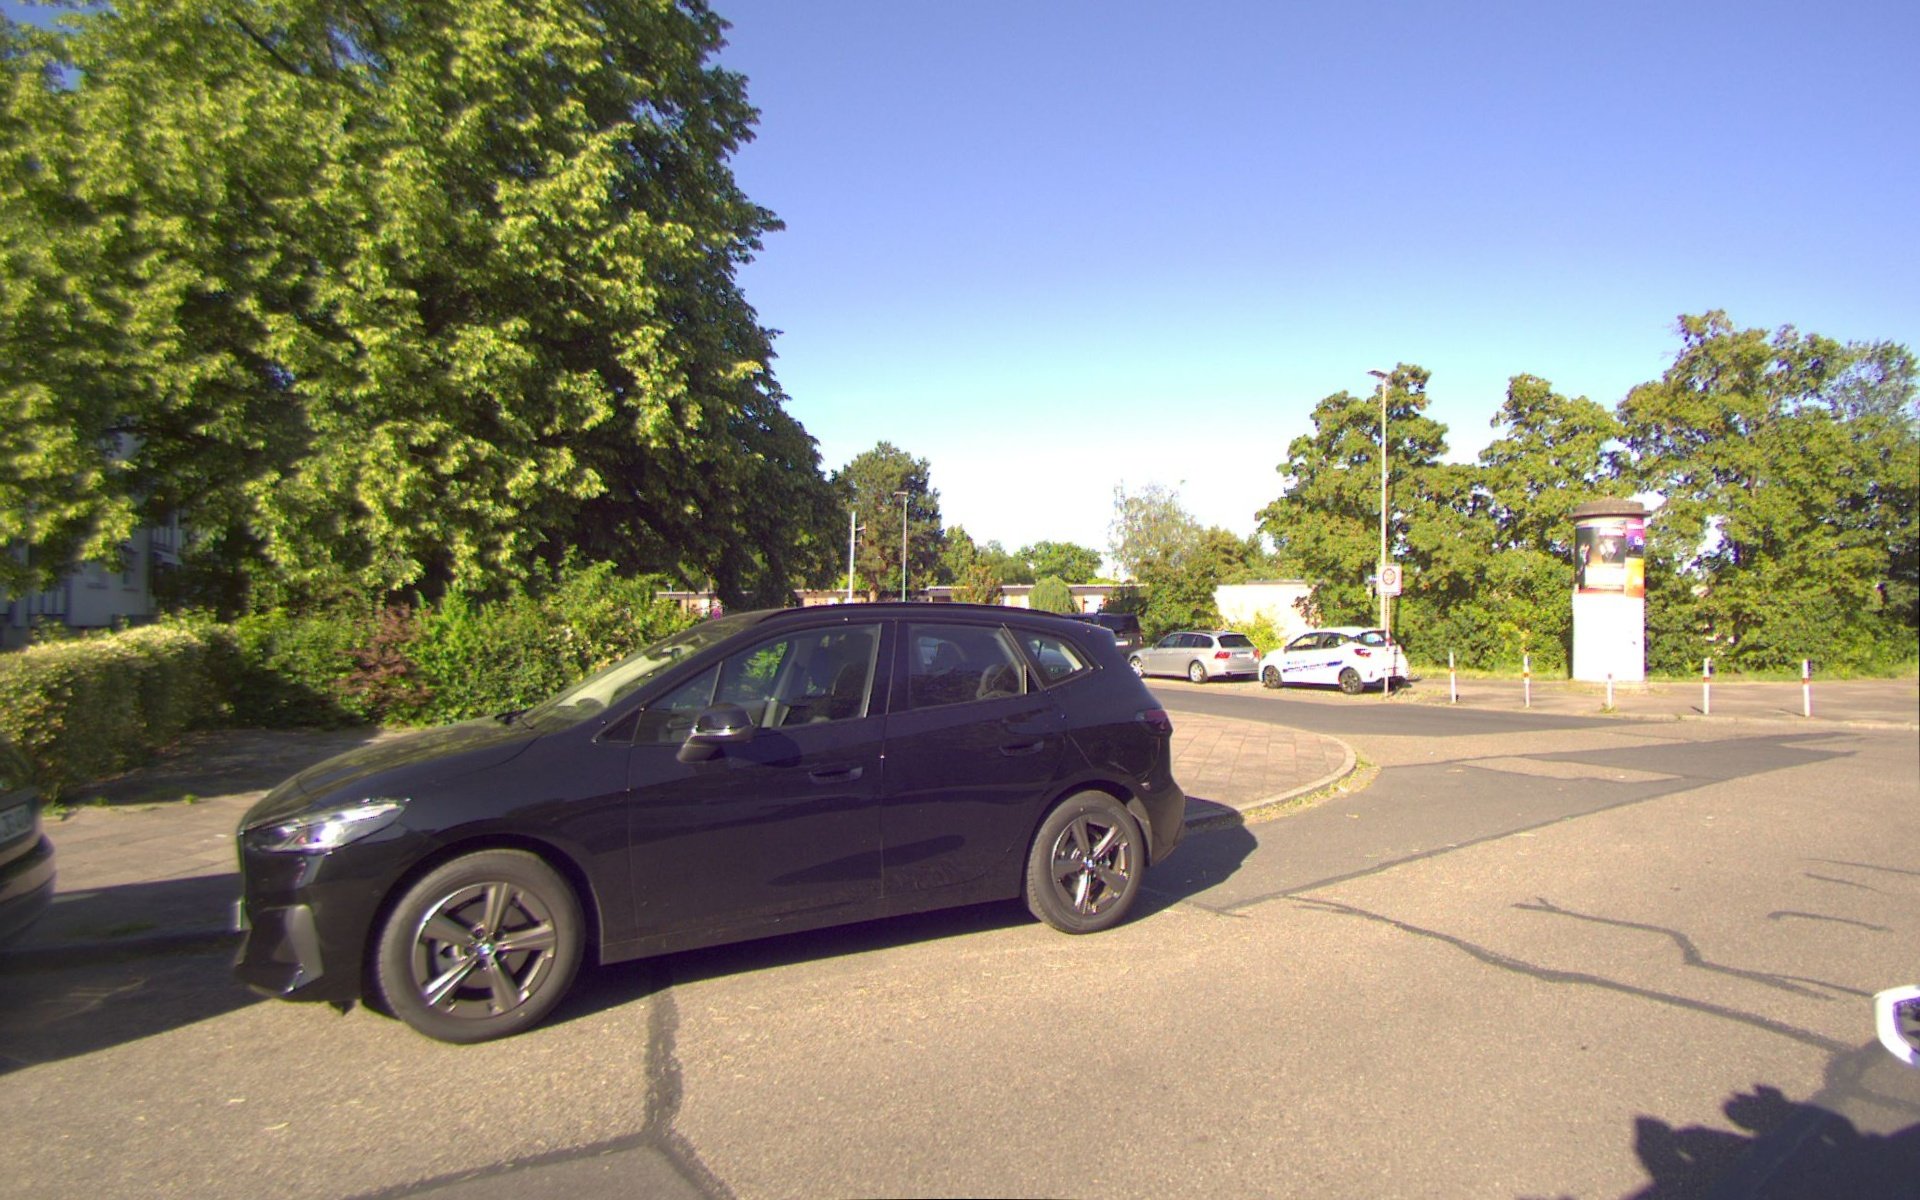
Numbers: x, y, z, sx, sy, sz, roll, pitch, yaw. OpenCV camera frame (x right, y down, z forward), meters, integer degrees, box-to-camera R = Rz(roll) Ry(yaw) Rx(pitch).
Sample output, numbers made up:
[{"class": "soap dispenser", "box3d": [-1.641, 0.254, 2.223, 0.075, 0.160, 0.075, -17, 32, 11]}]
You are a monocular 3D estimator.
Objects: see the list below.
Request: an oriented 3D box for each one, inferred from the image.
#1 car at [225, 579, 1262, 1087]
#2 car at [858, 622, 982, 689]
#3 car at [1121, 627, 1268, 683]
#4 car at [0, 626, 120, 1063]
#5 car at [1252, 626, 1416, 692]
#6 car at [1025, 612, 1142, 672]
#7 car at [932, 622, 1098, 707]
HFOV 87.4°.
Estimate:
[{"class": "car", "box3d": [-0.780, 0.804, 4.995, 4.367, 1.594, 1.774, 1, -3, -28]}, {"class": "car", "box3d": [-1.103, 1.383, 25.451, 1.723, 1.563, 3.902, 2, -3, -26]}, {"class": "car", "box3d": [6.676, 1.552, 29.019, 1.717, 1.481, 4.312, 2, -3, -29]}, {"class": "car", "box3d": [-5.002, 0.821, 2.923, 3.607, 1.455, 1.618, 1, -3, -28]}, {"class": "car", "box3d": [9.062, 1.420, 24.562, 1.717, 1.481, 3.504, 2, -3, -29]}, {"class": "car", "box3d": [4.094, 1.425, 33.897, 1.717, 1.879, 4.312, 2, -3, -29]}, {"class": "car", "box3d": [1.016, 1.268, 20.574, 1.723, 1.563, 3.902, 2, -3, -26]}]
